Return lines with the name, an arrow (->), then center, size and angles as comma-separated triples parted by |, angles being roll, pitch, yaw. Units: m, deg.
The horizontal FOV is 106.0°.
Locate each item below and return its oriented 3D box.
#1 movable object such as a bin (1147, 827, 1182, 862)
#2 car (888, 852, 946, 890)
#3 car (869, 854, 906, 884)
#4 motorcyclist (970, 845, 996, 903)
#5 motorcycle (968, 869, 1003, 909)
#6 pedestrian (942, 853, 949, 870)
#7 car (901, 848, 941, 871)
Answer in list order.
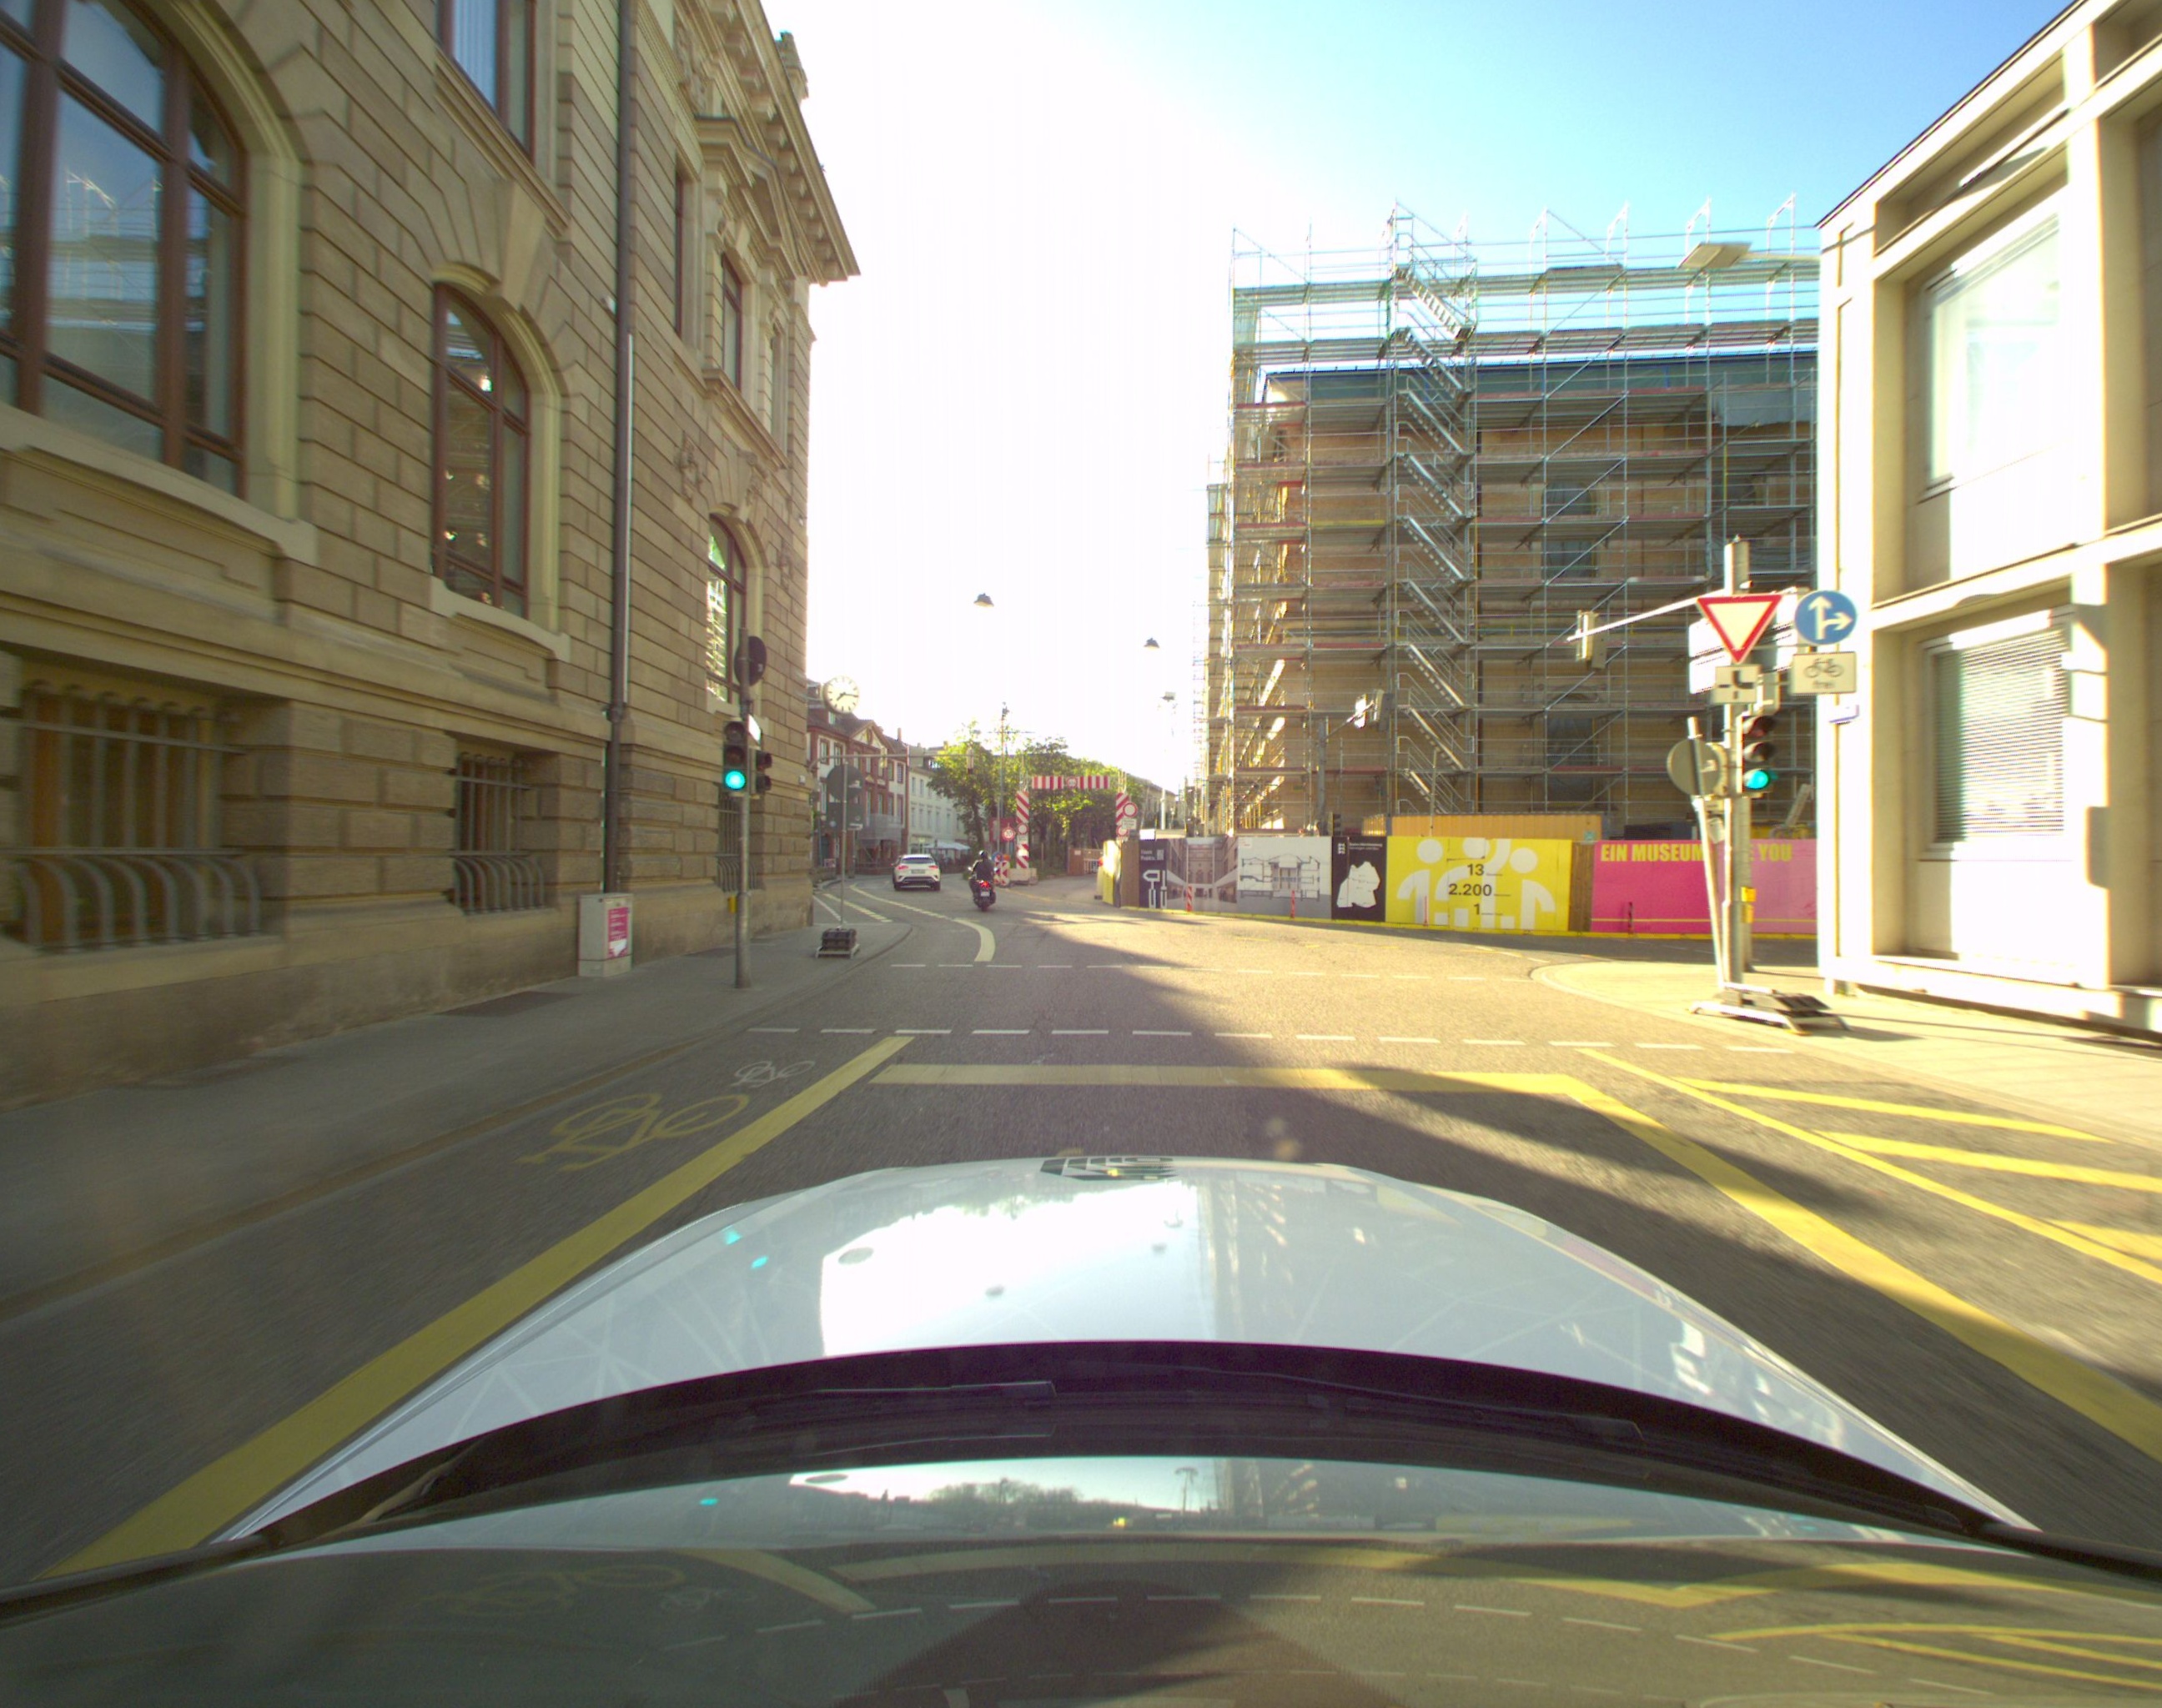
movable object such as a bin -> 11.506, -1.225, 111.757 | 3.281, 4.539, 7.940 | -1, 0, 17
car -> -7.000, 0.675, 34.465 | 1.856, 1.480, 4.031 | 1, 0, -19
car -> -10.372, 0.775, 43.458 | 1.843, 1.463, 4.037 | 1, 0, -15
motorcyclist -> -2.816, 0.563, 23.422 | 0.658, 1.650, 0.648 | 1, 0, -13
motorcycle -> -2.748, 0.990, 23.297 | 0.797, 1.066, 1.717 | 1, 0, -13
pedestrian -> -13.999, 0.735, 84.090 | 0.434, 1.775, 0.600 | -1, 0, 21
car -> -12.283, 0.379, 62.612 | 1.831, 1.713, 4.065 | 1, 0, 6
